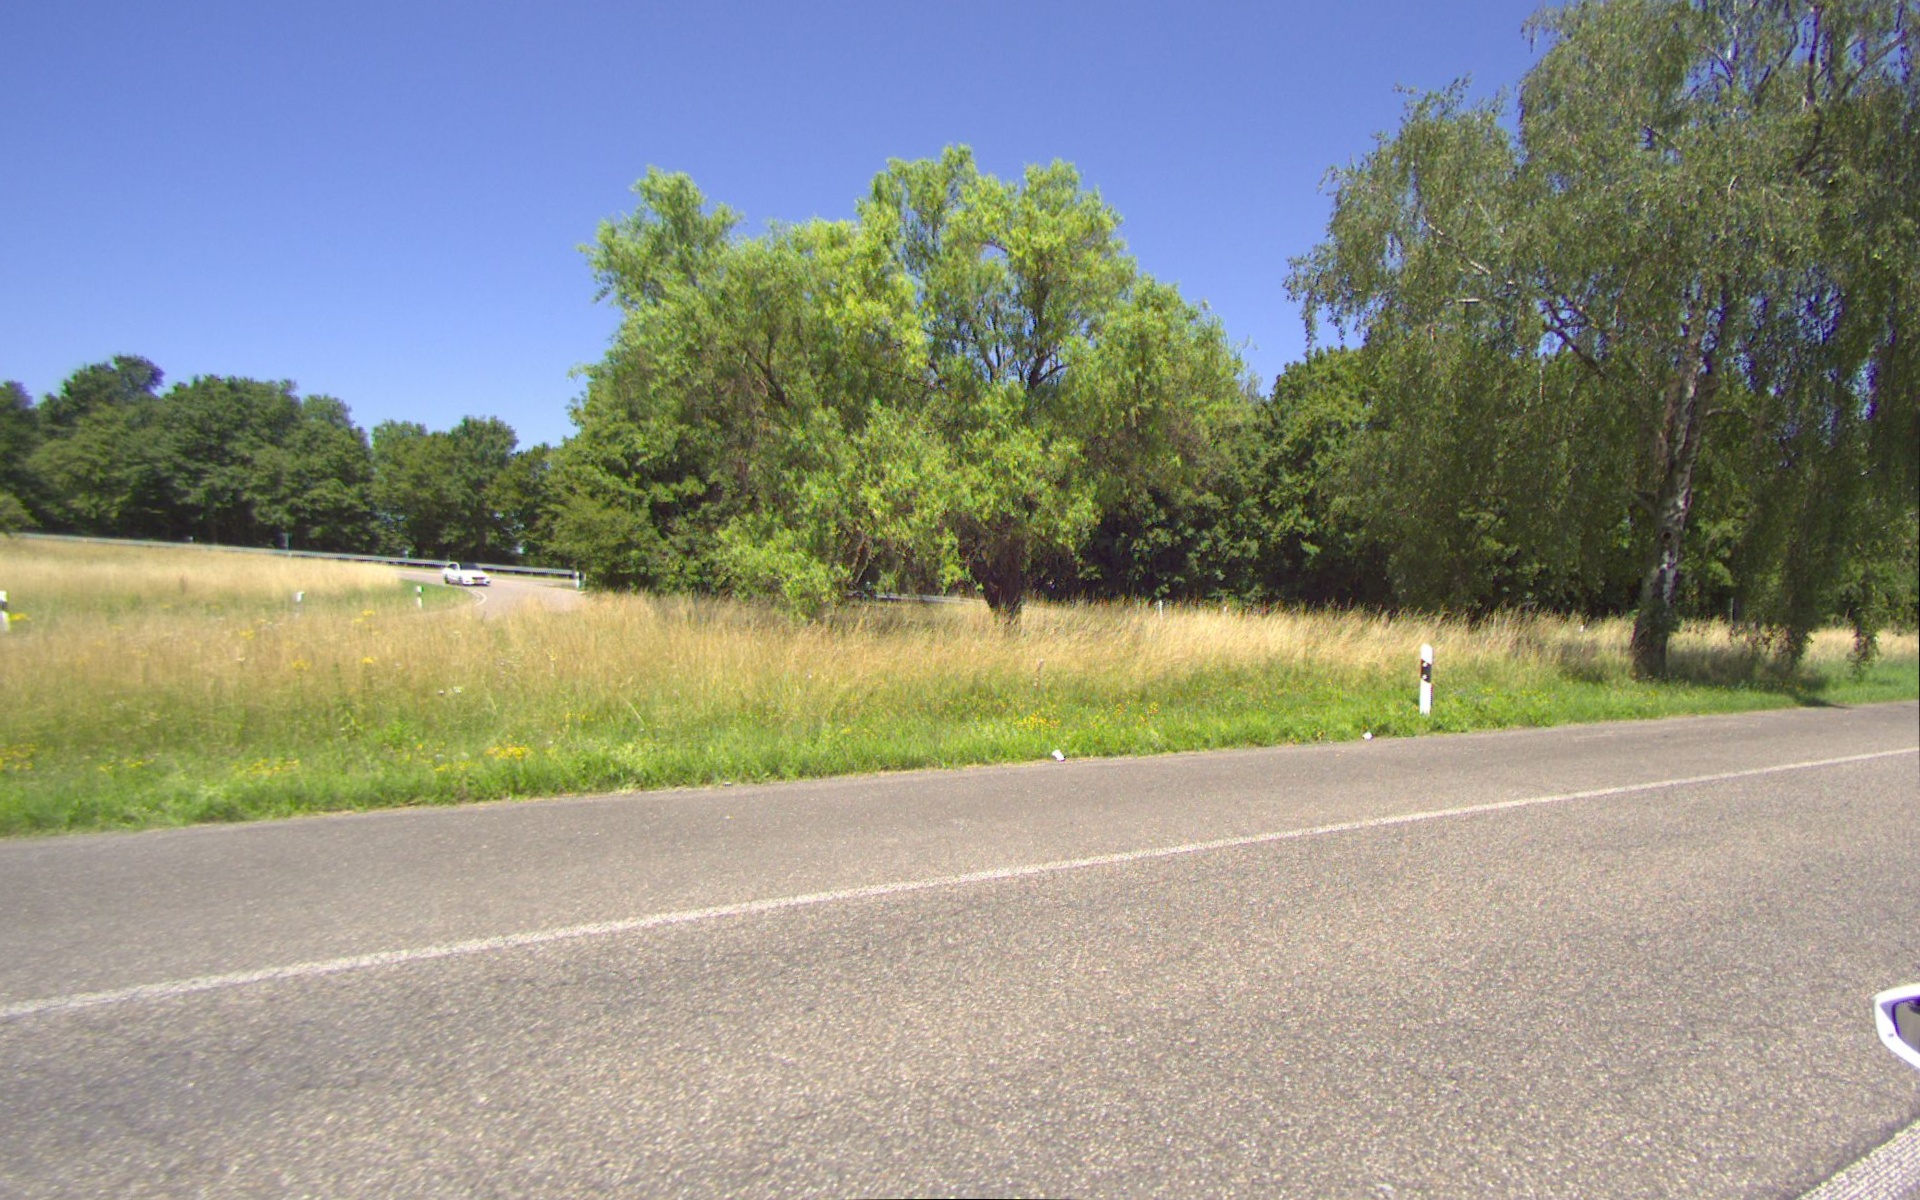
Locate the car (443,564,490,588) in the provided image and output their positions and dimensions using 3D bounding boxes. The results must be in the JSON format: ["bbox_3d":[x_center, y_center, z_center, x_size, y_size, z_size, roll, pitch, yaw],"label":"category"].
[{"bbox_3d":[-32.984,-1.604,67.123,1.653,1.486,3.947,1,0,-45],"label":"car"}]
